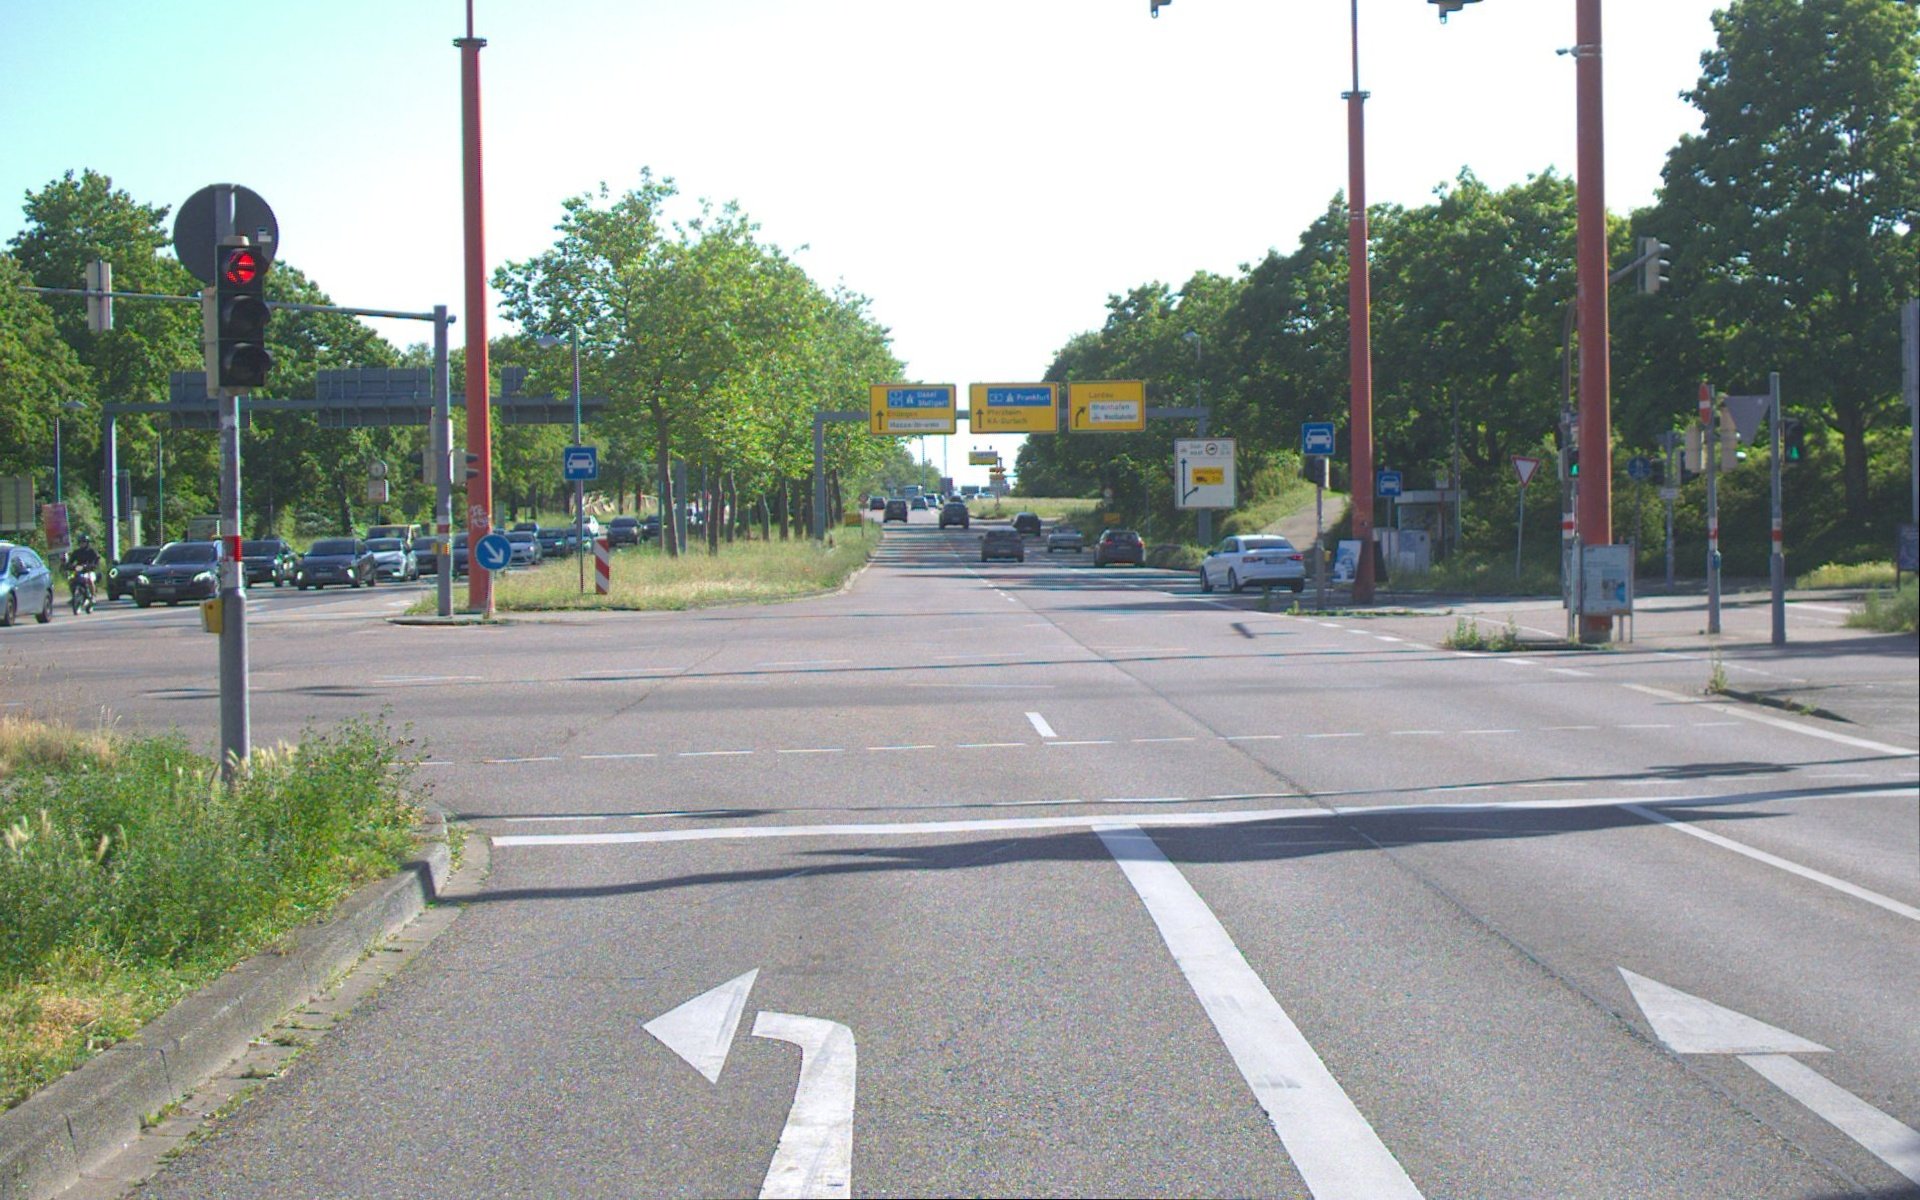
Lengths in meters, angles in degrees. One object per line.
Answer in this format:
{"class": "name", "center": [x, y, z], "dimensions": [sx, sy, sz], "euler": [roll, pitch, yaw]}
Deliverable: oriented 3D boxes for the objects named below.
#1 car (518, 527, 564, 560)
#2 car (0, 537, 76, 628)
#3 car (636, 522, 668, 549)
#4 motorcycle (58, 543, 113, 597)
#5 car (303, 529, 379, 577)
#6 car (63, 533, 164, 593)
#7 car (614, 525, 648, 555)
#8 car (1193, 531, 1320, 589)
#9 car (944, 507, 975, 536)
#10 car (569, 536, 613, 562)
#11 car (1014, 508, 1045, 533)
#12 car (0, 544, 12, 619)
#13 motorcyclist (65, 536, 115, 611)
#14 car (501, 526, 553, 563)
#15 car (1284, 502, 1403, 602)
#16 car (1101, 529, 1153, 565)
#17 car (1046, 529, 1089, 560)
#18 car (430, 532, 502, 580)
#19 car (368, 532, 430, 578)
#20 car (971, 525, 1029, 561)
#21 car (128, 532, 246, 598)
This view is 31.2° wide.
{"class": "car", "center": [-19.621, -2.647, 161.170], "dimensions": [1.704, 1.553, 3.803], "euler": [0, 1, 0]}
{"class": "car", "center": [-17.786, -0.331, 62.844], "dimensions": [1.993, 1.589, 4.464], "euler": [-1, 1, 1]}
{"class": "car", "center": [-19.827, -4.135, 221.612], "dimensions": [1.657, 1.741, 4.000], "euler": [0, 1, 0]}
{"class": "motorcycle", "center": [-18.471, -0.639, 72.660], "dimensions": [0.421, 1.127, 2.095], "euler": [0, 1, 6]}
{"class": "car", "center": [-18.185, -1.407, 101.190], "dimensions": [1.548, 1.372, 4.263], "euler": [-1, 1, -1]}
{"class": "car", "center": [-22.918, -1.006, 93.190], "dimensions": [1.876, 1.570, 4.000], "euler": [0, 1, -2]}
{"class": "car", "center": [-19.268, -3.508, 201.403], "dimensions": [1.625, 1.733, 4.000], "euler": [-1, 1, 0]}
{"class": "car", "center": [7.206, -0.996, 83.899], "dimensions": [2.054, 1.366, 4.393], "euler": [-1, 1, -9]}
{"class": "car", "center": [-0.048, -5.639, 246.580], "dimensions": [2.154, 2.007, 4.000], "euler": [-1, 1, -1]}
{"class": "car", "center": [-18.577, -2.579, 173.066], "dimensions": [2.003, 1.303, 4.001], "euler": [-1, 1, -4]}
{"class": "car", "center": [4.471, -5.123, 221.884], "dimensions": [1.993, 1.535, 4.000], "euler": [-1, 1, 1]}
{"class": "car", "center": [-22.799, -0.393, 77.367], "dimensions": [1.800, 1.702, 4.060], "euler": [-1, 1, 0]}
{"class": "motorcyclist", "center": [-18.442, -0.564, 72.887], "dimensions": [0.835, 1.594, 0.640], "euler": [0, 1, 6]}
{"class": "car", "center": [-18.706, -2.391, 148.685], "dimensions": [1.704, 1.590, 4.000], "euler": [0, 1, 0]}
{"class": "car", "center": [7.516, -0.957, 67.145], "dimensions": [1.994, 1.881, 3.998], "euler": [0, 1, 11]}
{"class": "car", "center": [6.295, -2.018, 129.850], "dimensions": [1.738, 1.337, 3.082], "euler": [-1, 1, -1]}
{"class": "car", "center": [5.305, -2.735, 170.056], "dimensions": [1.993, 1.535, 4.000], "euler": [0, 1, -1]}
{"class": "car", "center": [-15.640, -1.400, 108.943], "dimensions": [1.701, 1.416, 4.000], "euler": [2, 1, 0]}
{"class": "car", "center": [-18.235, -1.467, 111.812], "dimensions": [1.605, 1.454, 3.951], "euler": [-1, 1, -4]}
{"class": "car", "center": [1.685, -2.401, 145.026], "dimensions": [1.993, 1.491, 4.001], "euler": [-1, 1, -6]}
{"class": "car", "center": [-18.018, -0.821, 80.341], "dimensions": [1.876, 1.480, 4.606], "euler": [0, 1, -2]}
